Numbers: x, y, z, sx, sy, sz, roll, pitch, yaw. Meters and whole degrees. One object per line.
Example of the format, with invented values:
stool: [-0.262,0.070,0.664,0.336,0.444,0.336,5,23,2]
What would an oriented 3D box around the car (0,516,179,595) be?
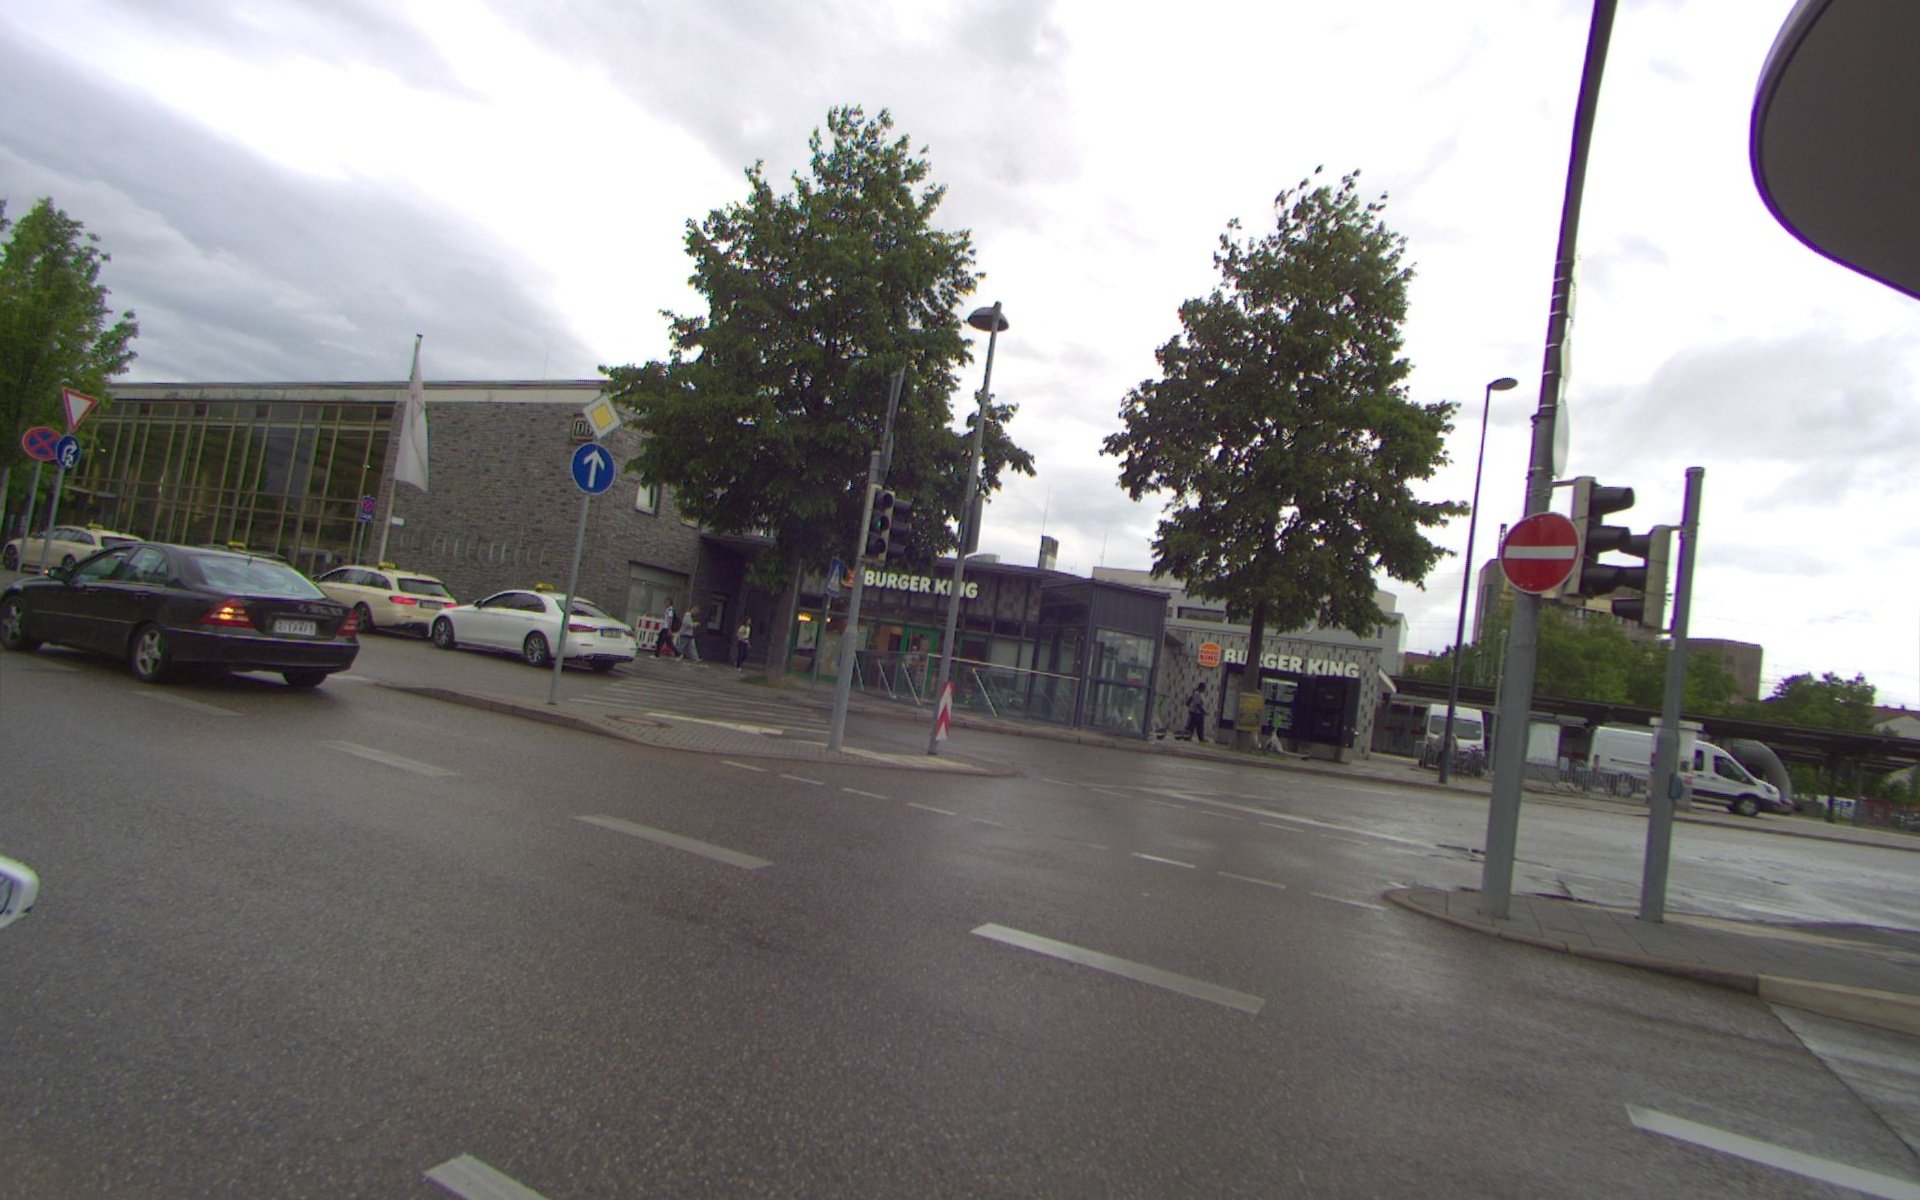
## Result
car: [-25.265,-1.282,28.954,4.866,1.618,2.001,7,-2,20]

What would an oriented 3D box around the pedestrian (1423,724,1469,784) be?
pedestrian: [13.698,4.331,28.343,0.825,1.547,0.638,7,-1,-2]

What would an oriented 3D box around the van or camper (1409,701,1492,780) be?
van or camper: [18.706,5.271,38.616,2.125,2.461,5.868,6,-2,21]

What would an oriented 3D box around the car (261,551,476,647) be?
car: [-13.964,-0.048,23.701,4.872,1.618,1.999,6,-2,28]

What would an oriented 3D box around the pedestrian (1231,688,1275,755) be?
pedestrian: [7.959,3.301,27.328,0.786,1.687,0.720,6,-1,38]

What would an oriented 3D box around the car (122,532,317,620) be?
car: [-19.526,-0.647,26.501,4.871,1.616,2.001,6,-4,27]

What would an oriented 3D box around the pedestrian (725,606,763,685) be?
pedestrian: [-6.319,1.328,29.448,0.710,2.189,0.797,7,-1,-3]

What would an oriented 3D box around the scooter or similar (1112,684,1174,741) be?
scooter or similar: [4.331,2.658,23.847,1.281,1.196,0.333,7,-1,-5]

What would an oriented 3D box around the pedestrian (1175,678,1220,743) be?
pedestrian: [6.639,3.081,28.128,0.713,1.687,0.793,7,-1,-24]

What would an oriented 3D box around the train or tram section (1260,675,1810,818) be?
train or tram section: [34.185,8.628,63.244,28.800,4.230,4.603,6,-2,28]

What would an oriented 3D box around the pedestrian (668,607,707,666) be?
pedestrian: [-7.954,1.071,29.353,0.705,1.598,0.763,7,-1,-38]

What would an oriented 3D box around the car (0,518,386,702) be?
car: [-8.662,0.079,11.011,4.370,1.482,1.701,6,-2,23]

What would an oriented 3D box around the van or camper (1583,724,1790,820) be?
van or camper: [26.561,6.245,37.105,5.763,2.462,1.999,6,-2,28]

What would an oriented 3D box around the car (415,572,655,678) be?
car: [-8.887,0.503,20.972,4.818,1.618,1.885,6,-2,28]

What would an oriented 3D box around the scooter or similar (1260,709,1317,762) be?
scooter or similar: [8.529,3.523,26.148,1.281,1.196,0.333,7,-1,-5]

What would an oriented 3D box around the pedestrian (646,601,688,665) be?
pedestrian: [-8.232,0.927,28.267,0.762,1.686,0.647,7,-1,6]

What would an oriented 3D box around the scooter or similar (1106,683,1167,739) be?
scooter or similar: [4.286,2.692,24.447,1.281,1.196,0.333,7,-1,-5]

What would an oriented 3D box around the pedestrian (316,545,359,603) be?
pedestrian: [-19.010,-0.785,30.749,0.785,1.645,0.721,7,-1,-16]
